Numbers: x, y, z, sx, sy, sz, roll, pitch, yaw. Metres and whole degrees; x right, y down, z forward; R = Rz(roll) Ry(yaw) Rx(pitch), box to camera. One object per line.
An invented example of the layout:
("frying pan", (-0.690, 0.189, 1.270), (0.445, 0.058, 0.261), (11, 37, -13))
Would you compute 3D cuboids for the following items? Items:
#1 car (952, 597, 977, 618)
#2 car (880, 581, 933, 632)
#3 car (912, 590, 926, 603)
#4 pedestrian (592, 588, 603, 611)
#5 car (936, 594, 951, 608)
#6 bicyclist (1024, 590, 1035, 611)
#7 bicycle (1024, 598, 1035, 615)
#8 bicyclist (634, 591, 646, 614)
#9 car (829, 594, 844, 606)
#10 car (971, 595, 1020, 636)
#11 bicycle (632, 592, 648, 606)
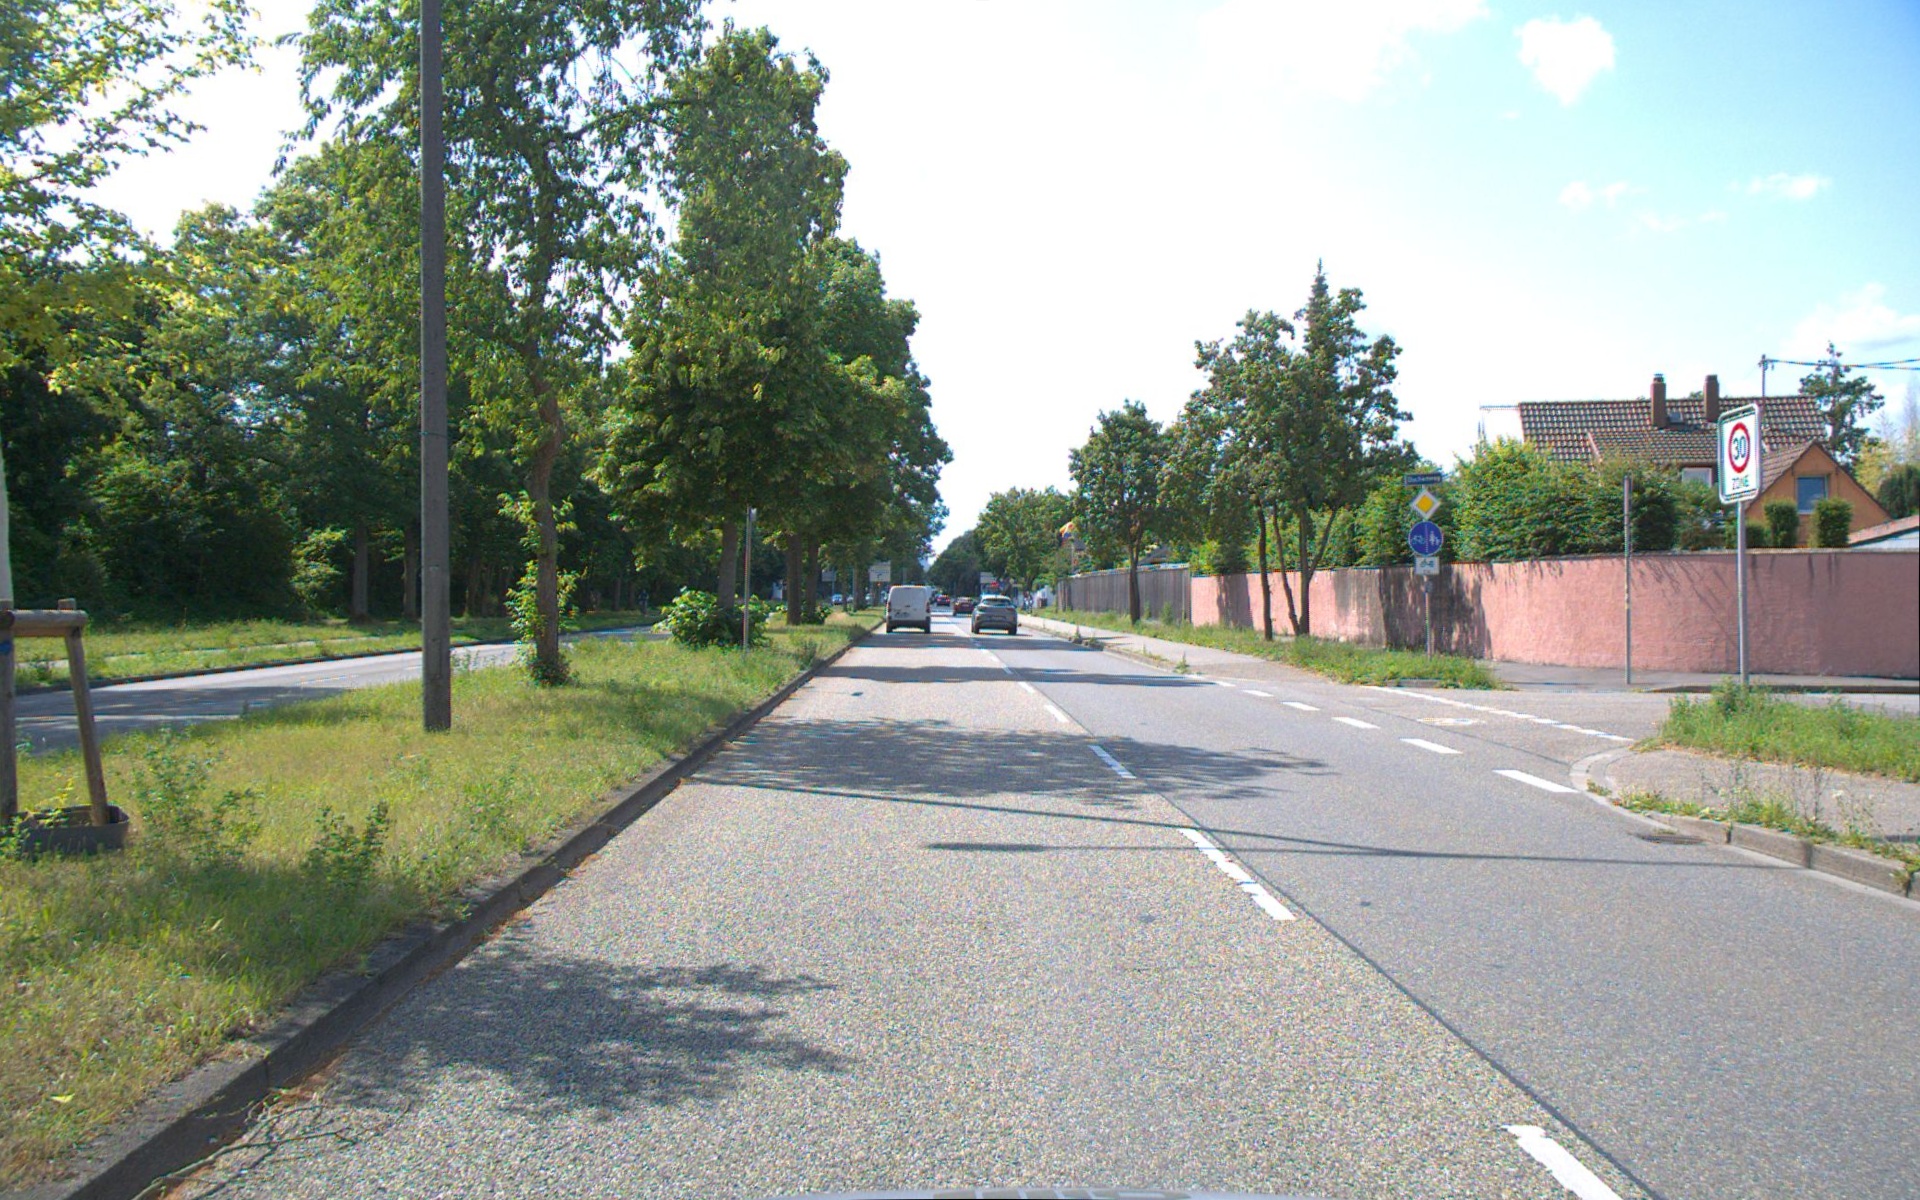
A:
("car", (0.370, 0.564, 128.513), (1.842, 1.615, 3.999), (0, 0, -1))
("car", (-2.113, 0.246, 66.014), (2.024, 1.945, 4.645), (0, 0, -1))
("car", (-5.761, -0.455, 231.998), (1.902, 1.798, 4.145), (0, 0, -1))
("pedestrian", (-26.647, -0.043, 121.648), (0.631, 1.658, 0.656), (1, 0, -1))
("car", (-2.231, 0.105, 226.791), (1.953, 1.803, 4.146), (2, 0, -1))
("bicyclist", (4.658, 0.028, 111.351), (0.641, 1.436, 0.986), (-2, 0, -1))
("bicycle", (4.676, 0.440, 111.449), (0.633, 1.086, 2.278), (-2, 0, 0))
("bicyclist", (-20.509, 0.137, 106.143), (0.605, 1.473, 0.729), (0, 0, 1))
("car", (-18.011, 0.061, 241.978), (1.953, 1.735, 4.192), (0, 0, -1))
("car", (1.416, 0.608, 67.430), (1.837, 1.617, 4.183), (0, 0, -1))
("bicycle", (-20.506, -0.066, 106.087), (0.605, 0.894, 1.915), (0, 0, 1))
